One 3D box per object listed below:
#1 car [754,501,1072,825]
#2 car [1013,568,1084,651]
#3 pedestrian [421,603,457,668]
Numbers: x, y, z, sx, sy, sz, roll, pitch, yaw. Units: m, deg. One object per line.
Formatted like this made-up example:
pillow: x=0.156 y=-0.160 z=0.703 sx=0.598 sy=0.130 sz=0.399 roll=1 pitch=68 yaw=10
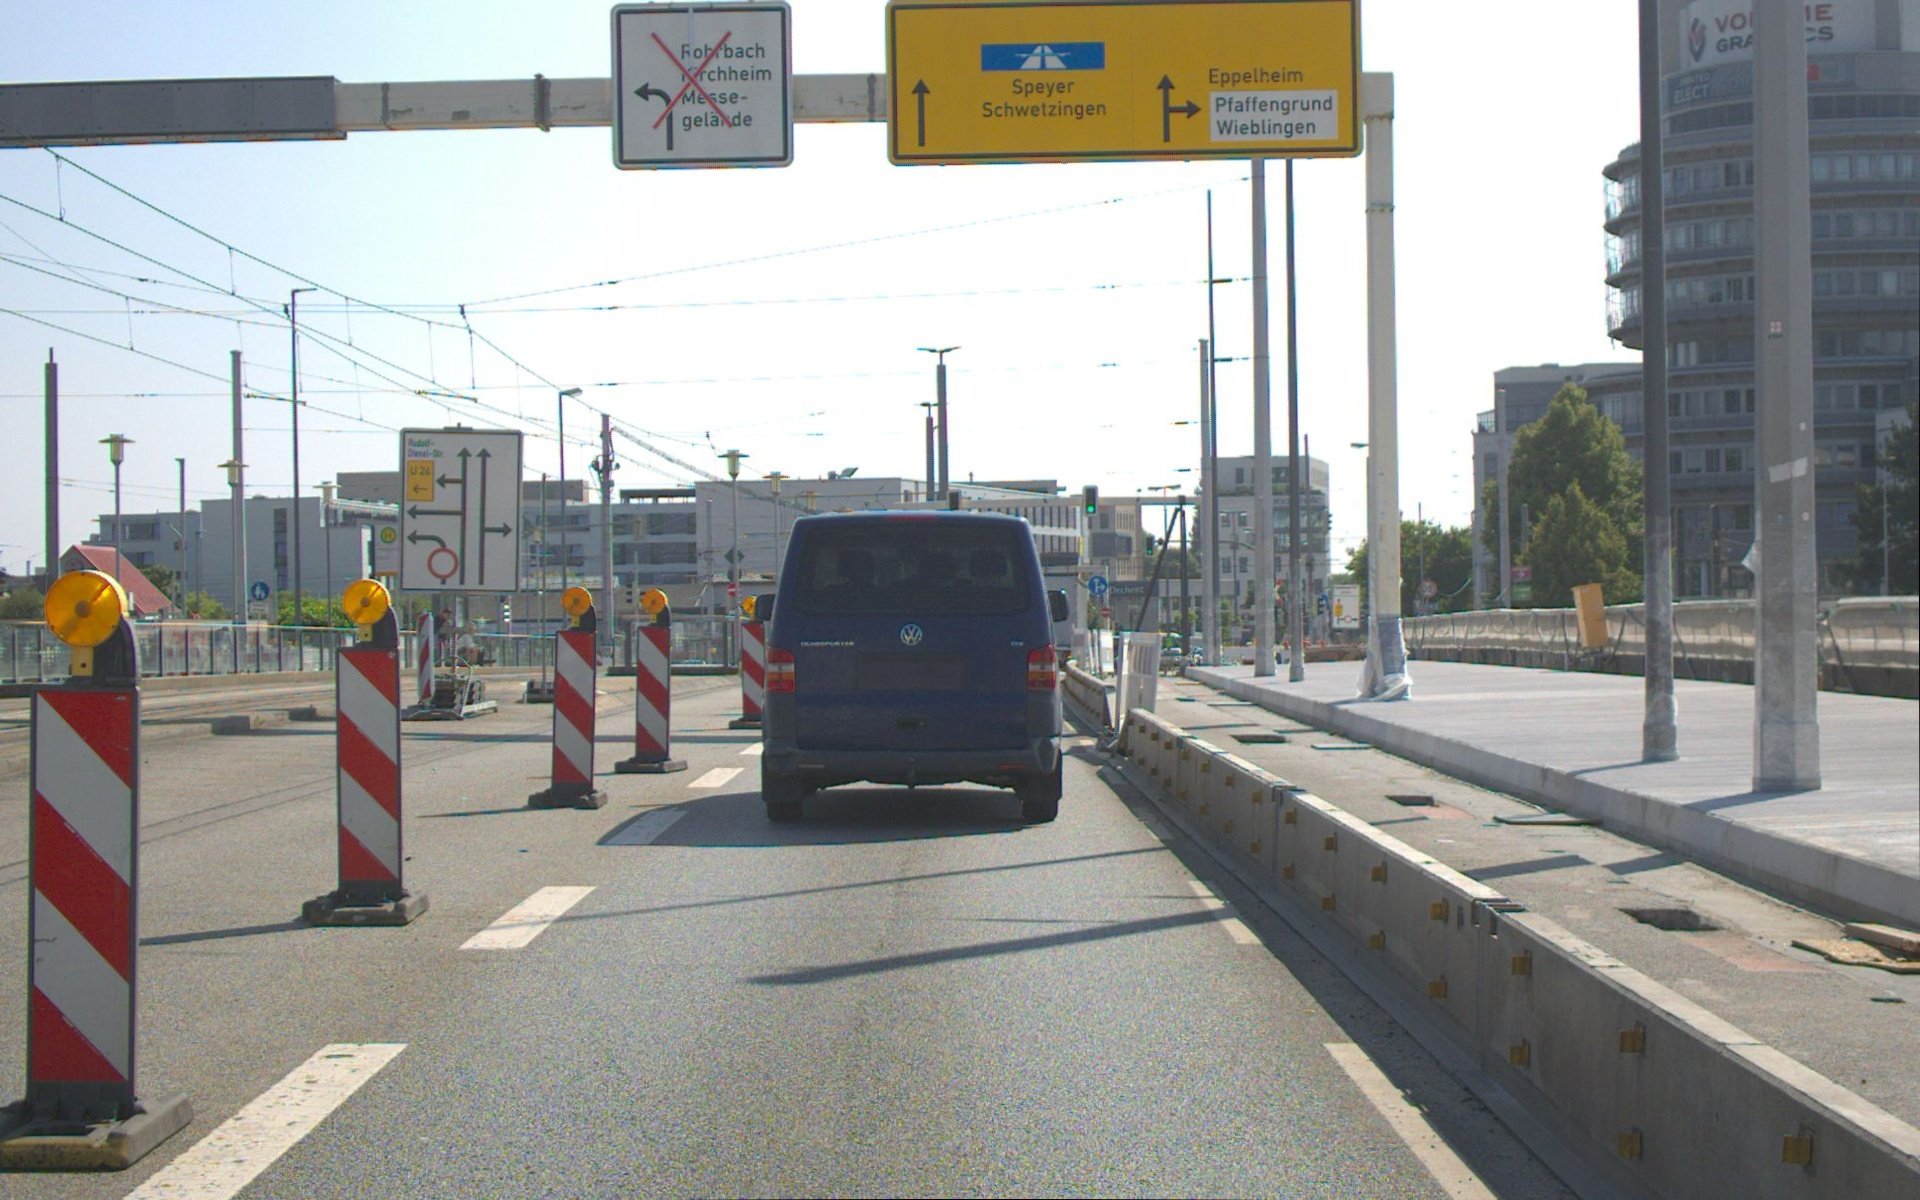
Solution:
car: x=-0.318 y=0.373 z=22.722 sx=1.888 sy=1.927 sz=4.000 roll=1 pitch=0 yaw=-1
car: x=3.217 y=0.324 z=123.951 sx=2.339 sy=2.877 sz=5.969 roll=1 pitch=0 yaw=4
pedestrian: x=-13.414 y=0.909 z=88.483 sx=0.660 sy=1.649 sz=0.739 roll=-1 pitch=0 yaw=14
